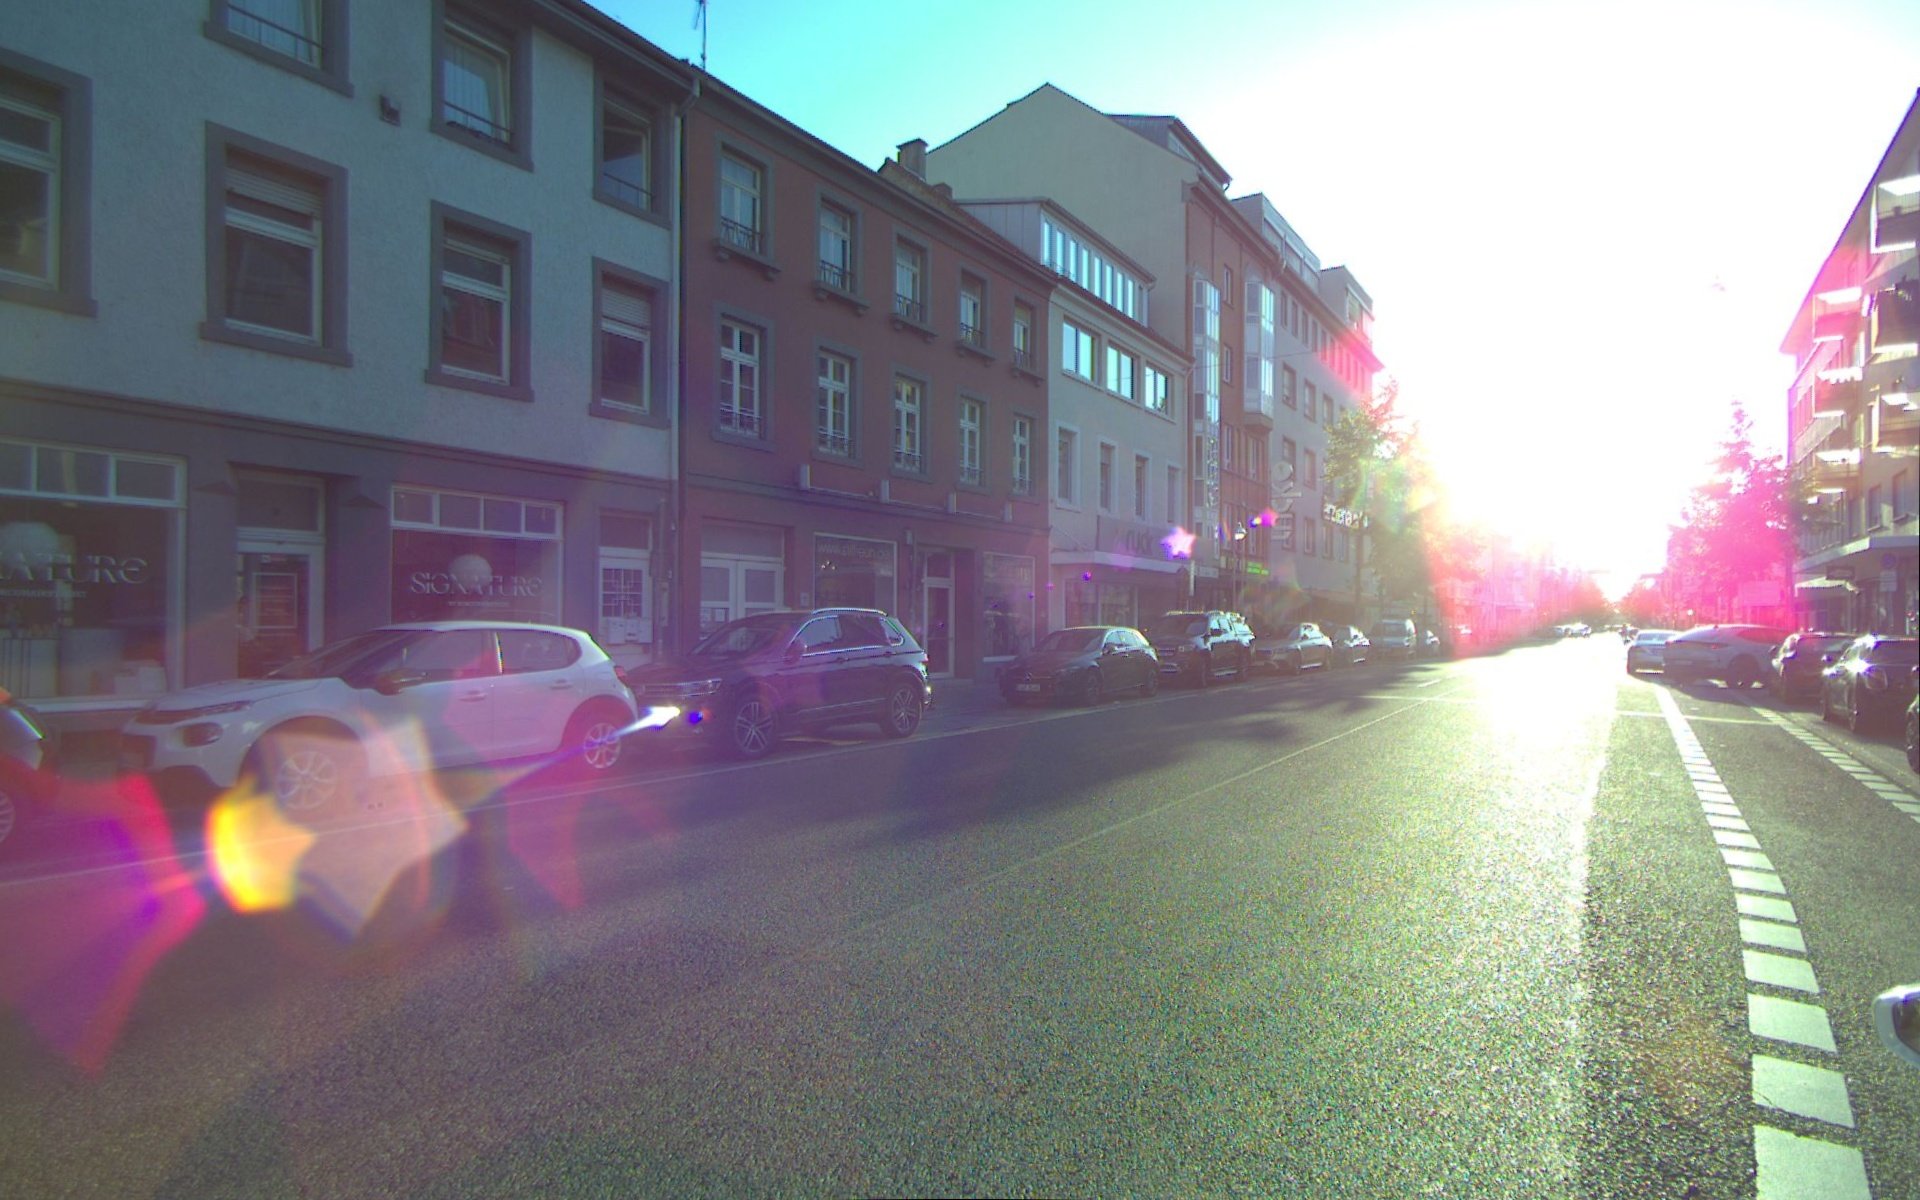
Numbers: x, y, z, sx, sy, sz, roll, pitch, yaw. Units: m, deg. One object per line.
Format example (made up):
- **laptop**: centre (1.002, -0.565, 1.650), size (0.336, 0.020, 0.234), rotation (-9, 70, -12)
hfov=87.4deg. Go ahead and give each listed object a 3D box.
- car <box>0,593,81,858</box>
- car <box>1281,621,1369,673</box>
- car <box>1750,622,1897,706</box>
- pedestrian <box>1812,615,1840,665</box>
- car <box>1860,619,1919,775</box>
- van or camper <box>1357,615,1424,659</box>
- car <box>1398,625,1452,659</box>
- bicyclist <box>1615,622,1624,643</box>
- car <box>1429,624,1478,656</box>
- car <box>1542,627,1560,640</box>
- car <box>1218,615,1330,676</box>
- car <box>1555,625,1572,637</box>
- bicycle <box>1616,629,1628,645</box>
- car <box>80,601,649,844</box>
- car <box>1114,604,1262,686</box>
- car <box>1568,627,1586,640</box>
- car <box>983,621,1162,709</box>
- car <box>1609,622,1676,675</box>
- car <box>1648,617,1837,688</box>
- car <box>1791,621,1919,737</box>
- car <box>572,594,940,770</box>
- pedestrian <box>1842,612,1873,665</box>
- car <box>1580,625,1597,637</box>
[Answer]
- **car**: centre (-7.158, 0.753, 5.399), size (1.506, 1.590, 3.411), rotation (-2, -2, 35)
- **car**: centre (12.774, 1.570, 35.000), size (1.966, 1.677, 4.468), rotation (0, -1, 33)
- **car**: centre (18.177, 1.272, 21.313), size (1.764, 1.601, 3.778), rotation (0, -1, 31)
- **pedestrian**: centre (32.121, 1.470, 37.268), size (0.708, 1.815, 0.664), rotation (-1, -1, 35)
- **car**: centre (10.841, 0.995, 10.248), size (1.764, 1.601, 3.958), rotation (0, -1, 31)
- **van or camper**: centre (18.468, 1.532, 43.010), size (1.764, 1.797, 4.543), rotation (0, -1, 35)
- **car**: centre (22.102, 1.961, 47.689), size (1.667, 1.522, 3.775), rotation (0, -1, 35)
- **bicyclist**: centre (51.032, 2.517, 77.689), size (0.540, 1.601, 0.800), rotation (-1, -1, 37)
- **car**: centre (25.368, 2.030, 51.581), size (1.667, 1.522, 3.775), rotation (0, -1, 35)
- **car**: centre (73.660, 4.128, 125.182), size (1.667, 1.522, 3.775), rotation (0, -1, 35)
- **car**: centre (9.515, 1.327, 30.196), size (1.967, 1.677, 4.614), rotation (-2, -2, 34)
- **car**: centre (79.313, 4.042, 131.894), size (1.667, 1.522, 3.775), rotation (0, -1, 35)
- **bicycle**: centre (51.203, 2.853, 77.655), size (0.655, 1.259, 2.122), rotation (2, 0, 36)
- **car**: centre (-4.832, 0.865, 8.697), size (1.639, 1.594, 3.923), rotation (-2, -2, 34)
- **car**: centre (5.770, 1.071, 24.881), size (1.965, 1.800, 5.307), rotation (-2, -2, 31)
- **car**: centre (75.906, 4.067, 123.464), size (1.667, 1.522, 3.775), rotation (0, -1, 35)
- **car**: centre (2.320, 1.206, 19.663), size (1.662, 1.507, 4.399), rotation (-4, -3, 33)
- **car**: centre (22.151, 1.522, 32.567), size (1.667, 1.523, 3.775), rotation (2, 0, 35)
- **car**: centre (20.722, 1.379, 26.639), size (4.252, 1.720, 1.872), rotation (2, 0, -18)
- **car**: centre (14.345, 1.137, 15.538), size (1.764, 1.601, 3.778), rotation (0, -1, 31)
- **car**: centre (-2.227, 0.879, 12.204), size (1.769, 1.720, 4.449), rotation (-3, -2, 33)
- **pedestrian**: centre (31.631, 1.348, 35.421), size (0.708, 1.815, 0.664), rotation (-1, -1, 35)
- **car**: centre (81.077, 3.974, 129.476), size (1.667, 1.522, 3.775), rotation (0, -1, 35)
